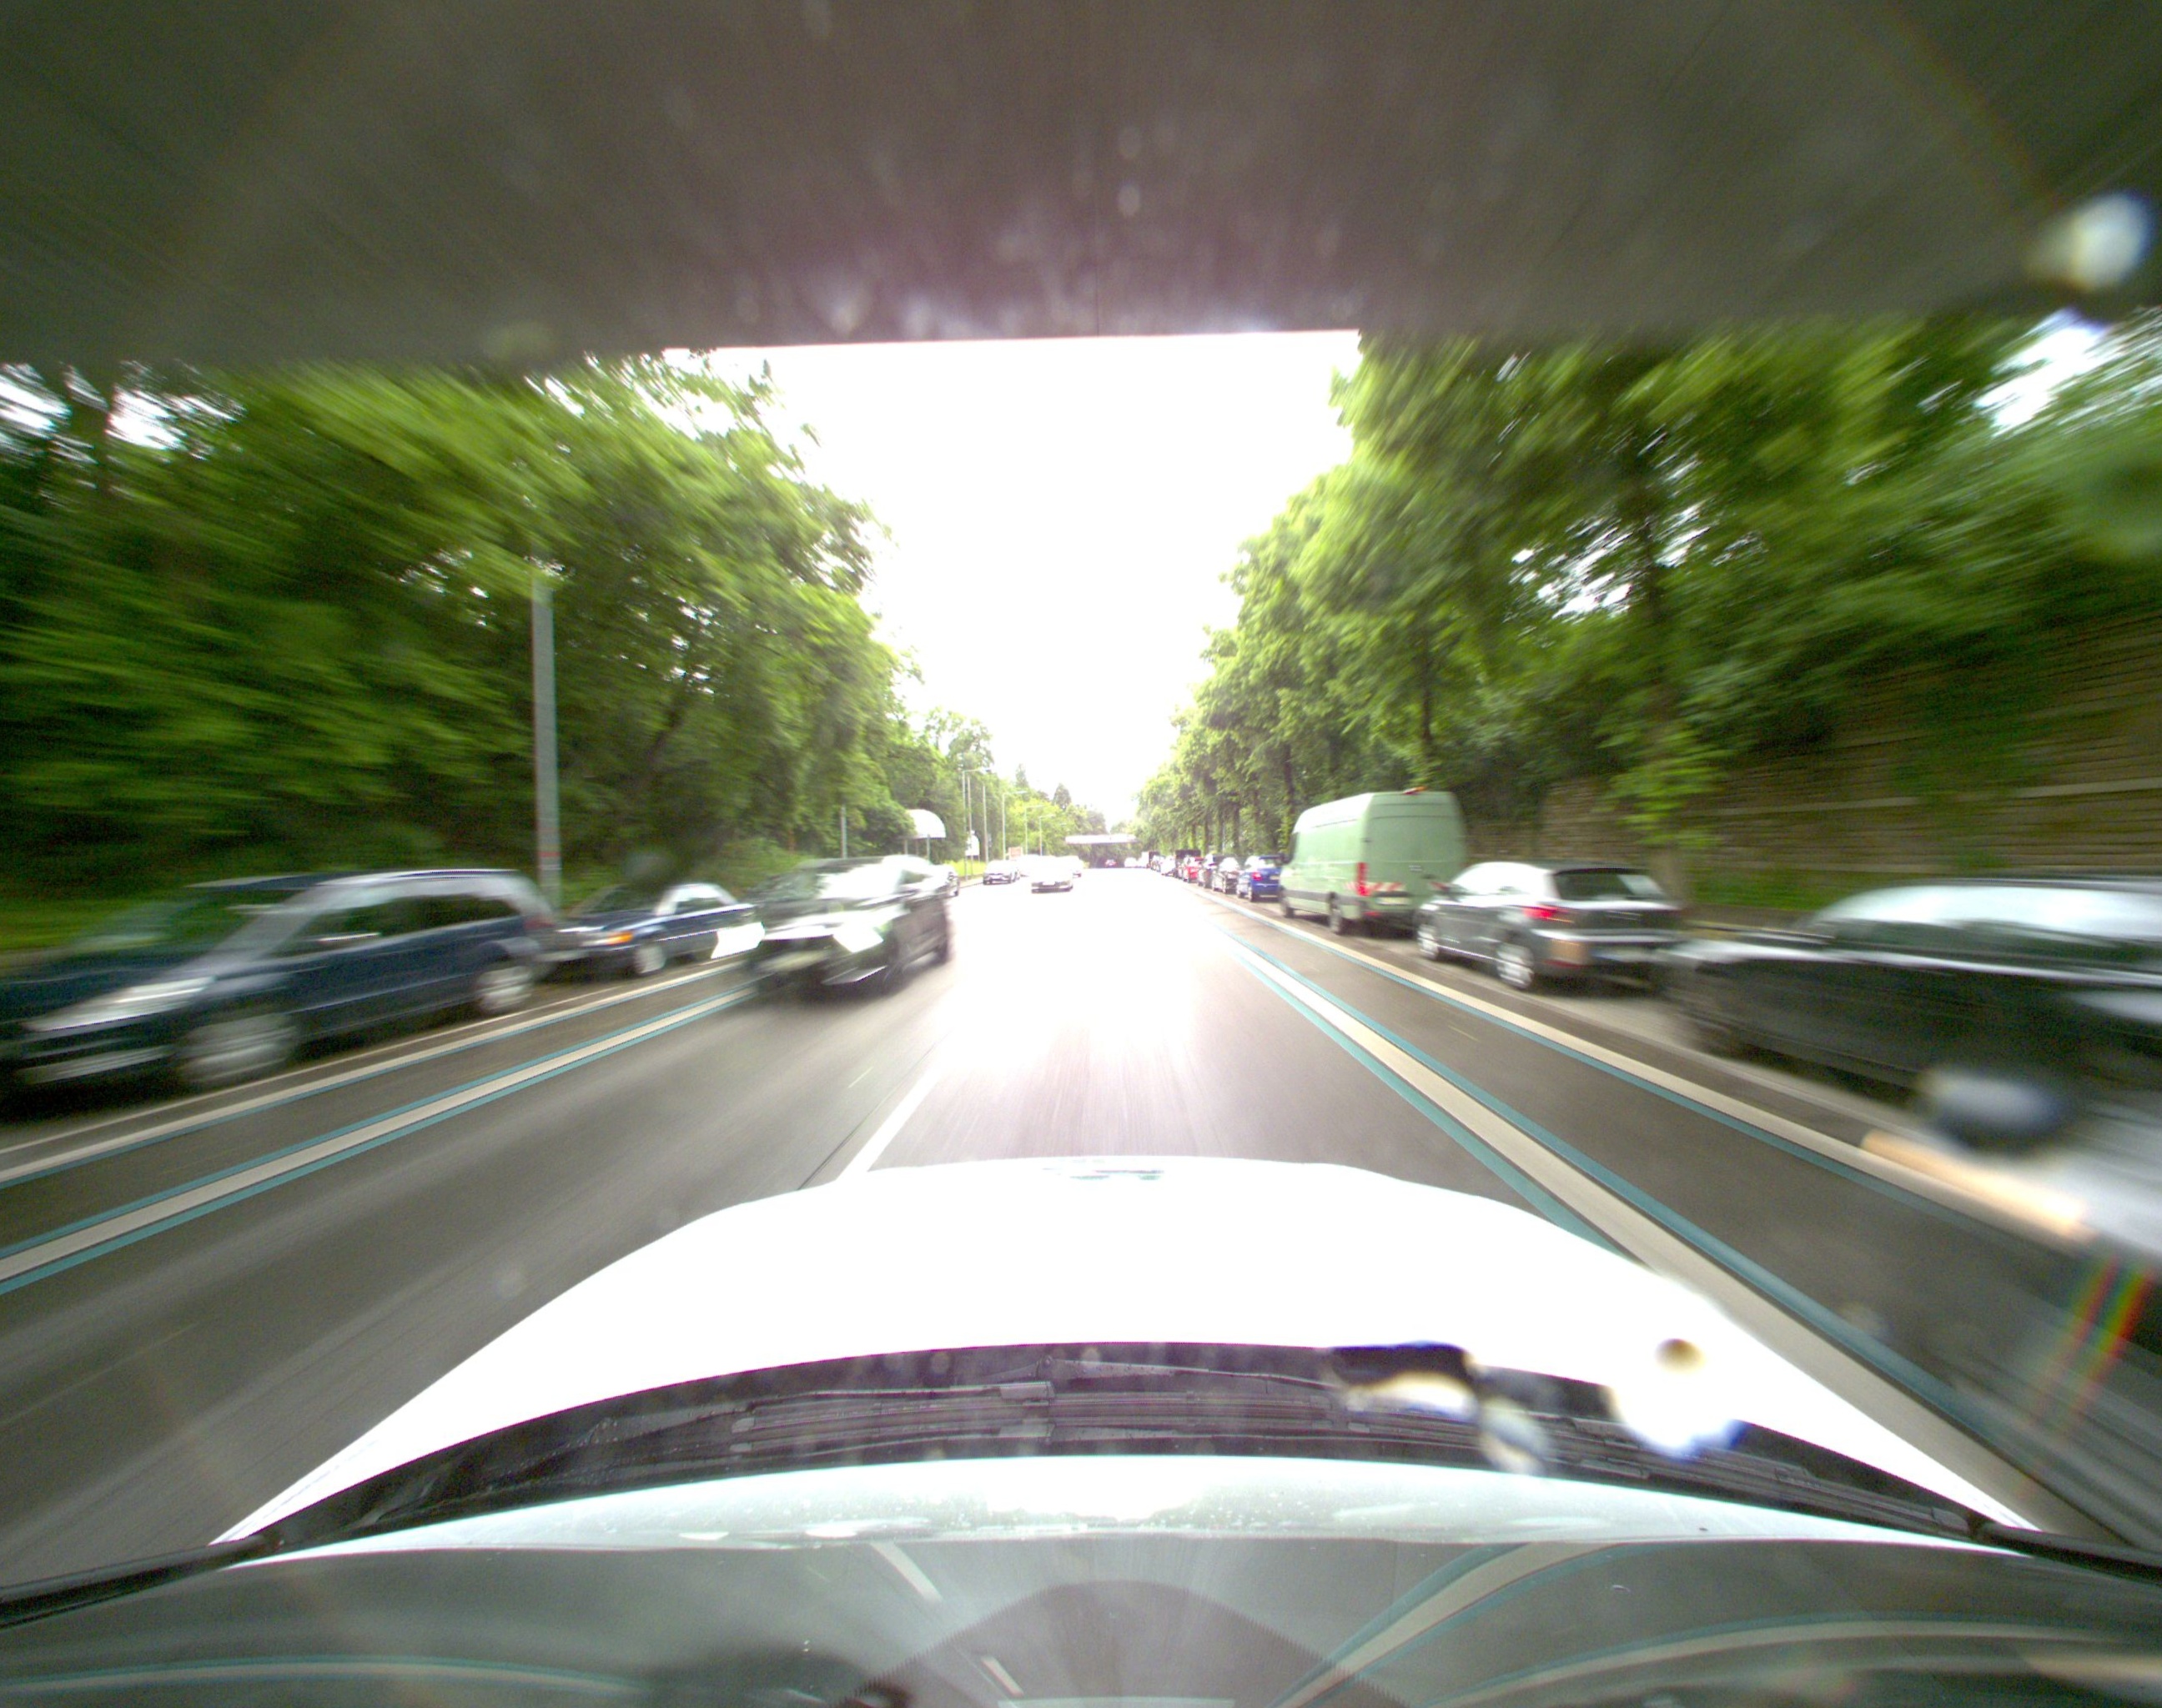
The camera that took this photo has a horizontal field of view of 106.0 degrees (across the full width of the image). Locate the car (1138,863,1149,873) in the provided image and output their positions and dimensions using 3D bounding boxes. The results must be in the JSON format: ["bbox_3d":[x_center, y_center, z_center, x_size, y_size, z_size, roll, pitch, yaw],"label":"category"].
[{"bbox_3d":[9.876,2.250,128.820,1.724,1.462,4.048,-2,0,3],"label":"car"}]

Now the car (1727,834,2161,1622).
[{"bbox_3d":[2.911,0.701,0.544,1.811,1.508,4.142,-1,0,3],"label":"car"}]

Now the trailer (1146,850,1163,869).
[{"bbox_3d":[8.998,0.689,99.959,1.876,2.166,3.810,-2,0,2],"label":"trailer"}]

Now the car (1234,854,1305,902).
[{"bbox_3d":[6.264,0.758,27.429,1.679,1.513,3.837,0,0,2],"label":"car"}]

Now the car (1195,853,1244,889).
[{"bbox_3d":[6.424,0.751,38.201,1.749,1.589,4.501,0,0,2],"label":"car"}]

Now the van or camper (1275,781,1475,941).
[{"bbox_3d":[5.811,0.120,17.290,2.034,2.729,6.904,0,0,2],"label":"van or camper"}]

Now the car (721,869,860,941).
[{"bbox_3d":[-7.019,1.169,20.167,1.778,1.423,4.297,-2,0,1],"label":"car"}]

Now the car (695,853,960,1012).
[{"bbox_3d":[-3.028,0.838,10.852,1.958,1.627,4.323,-2,0,2],"label":"car"}]

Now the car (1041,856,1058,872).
[{"bbox_3d":[-3.957,1.217,102.388,1.876,1.945,4.826,-2,0,1],"label":"car"}]

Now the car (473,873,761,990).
[{"bbox_3d":[-7.457,1.144,13.844,1.976,1.472,4.899,-1,0,1],"label":"car"}]

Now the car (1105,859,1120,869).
[{"bbox_3d":[5.297,1.673,137.317,2.134,1.492,4.495,0,0,-1],"label":"car"}]

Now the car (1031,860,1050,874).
[{"bbox_3d":[-4.509,1.439,90.668,1.725,1.390,4.371,-2,0,1],"label":"car"}]

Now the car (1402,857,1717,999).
[{"bbox_3d":[5.624,0.752,10.256,1.679,1.416,4.102,-1,0,2],"label":"car"}]

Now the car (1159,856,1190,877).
[{"bbox_3d":[7.054,0.914,61.709,1.783,1.543,4.889,0,0,0],"label":"car"}]

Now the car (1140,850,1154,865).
[{"bbox_3d":[9.506,0.458,116.691,1.881,2.127,4.048,-1,0,3],"label":"car"}]

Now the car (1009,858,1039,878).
[{"bbox_3d":[-5.127,1.248,73.949,1.982,1.605,4.989,-2,0,3],"label":"car"}]

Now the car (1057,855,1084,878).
[{"bbox_3d":[-0.760,0.967,63.350,1.788,1.652,4.132,-3,0,3],"label":"car"}]

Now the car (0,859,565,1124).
[{"bbox_3d":[-7.731,0.987,8.044,1.983,1.742,4.841,-2,0,2],"label":"car"}]

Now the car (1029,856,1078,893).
[{"bbox_3d":[-1.244,0.922,38.587,1.913,1.560,4.623,-2,0,2],"label":"car"}]

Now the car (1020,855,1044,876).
[{"bbox_3d":[-4.822,1.090,80.210,1.906,1.931,4.929,-2,0,1],"label":"car"}]

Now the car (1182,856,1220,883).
[{"bbox_3d":[6.734,0.831,46.056,1.679,1.453,4.168,0,0,2],"label":"car"}]

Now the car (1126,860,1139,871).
[{"bbox_3d":[7.346,1.650,117.259,1.724,1.583,4.038,-2,0,2],"label":"car"}]

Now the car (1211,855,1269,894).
[{"bbox_3d":[6.366,0.790,32.961,1.679,1.456,4.148,0,0,2],"label":"car"}]

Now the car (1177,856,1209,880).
[{"bbox_3d":[6.980,0.857,50.998,1.600,1.453,3.749,0,0,2],"label":"car"}]

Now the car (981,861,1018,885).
[{"bbox_3d":[-5.433,1.243,55.030,2.071,1.482,4.671,-1,0,-1],"label":"car"}]

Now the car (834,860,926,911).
[{"bbox_3d":[-6.643,0.987,27.499,1.950,1.463,4.754,-1,0,-1],"label":"car"}]

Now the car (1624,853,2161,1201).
[{"bbox_3d":[5.406,0.726,4.796,1.680,1.416,4.198,-2,0,2],"label":"car"}]

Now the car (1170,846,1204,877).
[{"bbox_3d":[7.321,0.484,56.817,1.919,2.022,4.666,-1,0,2],"label":"car"}]

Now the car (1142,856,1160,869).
[{"bbox_3d":[8.907,1.051,104.075,1.727,1.583,4.150,-2,0,-3],"label":"car"}]

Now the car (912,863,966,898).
[{"bbox_3d":[-6.449,1.174,37.342,1.665,1.457,3.994,0,0,1],"label":"car"}]
